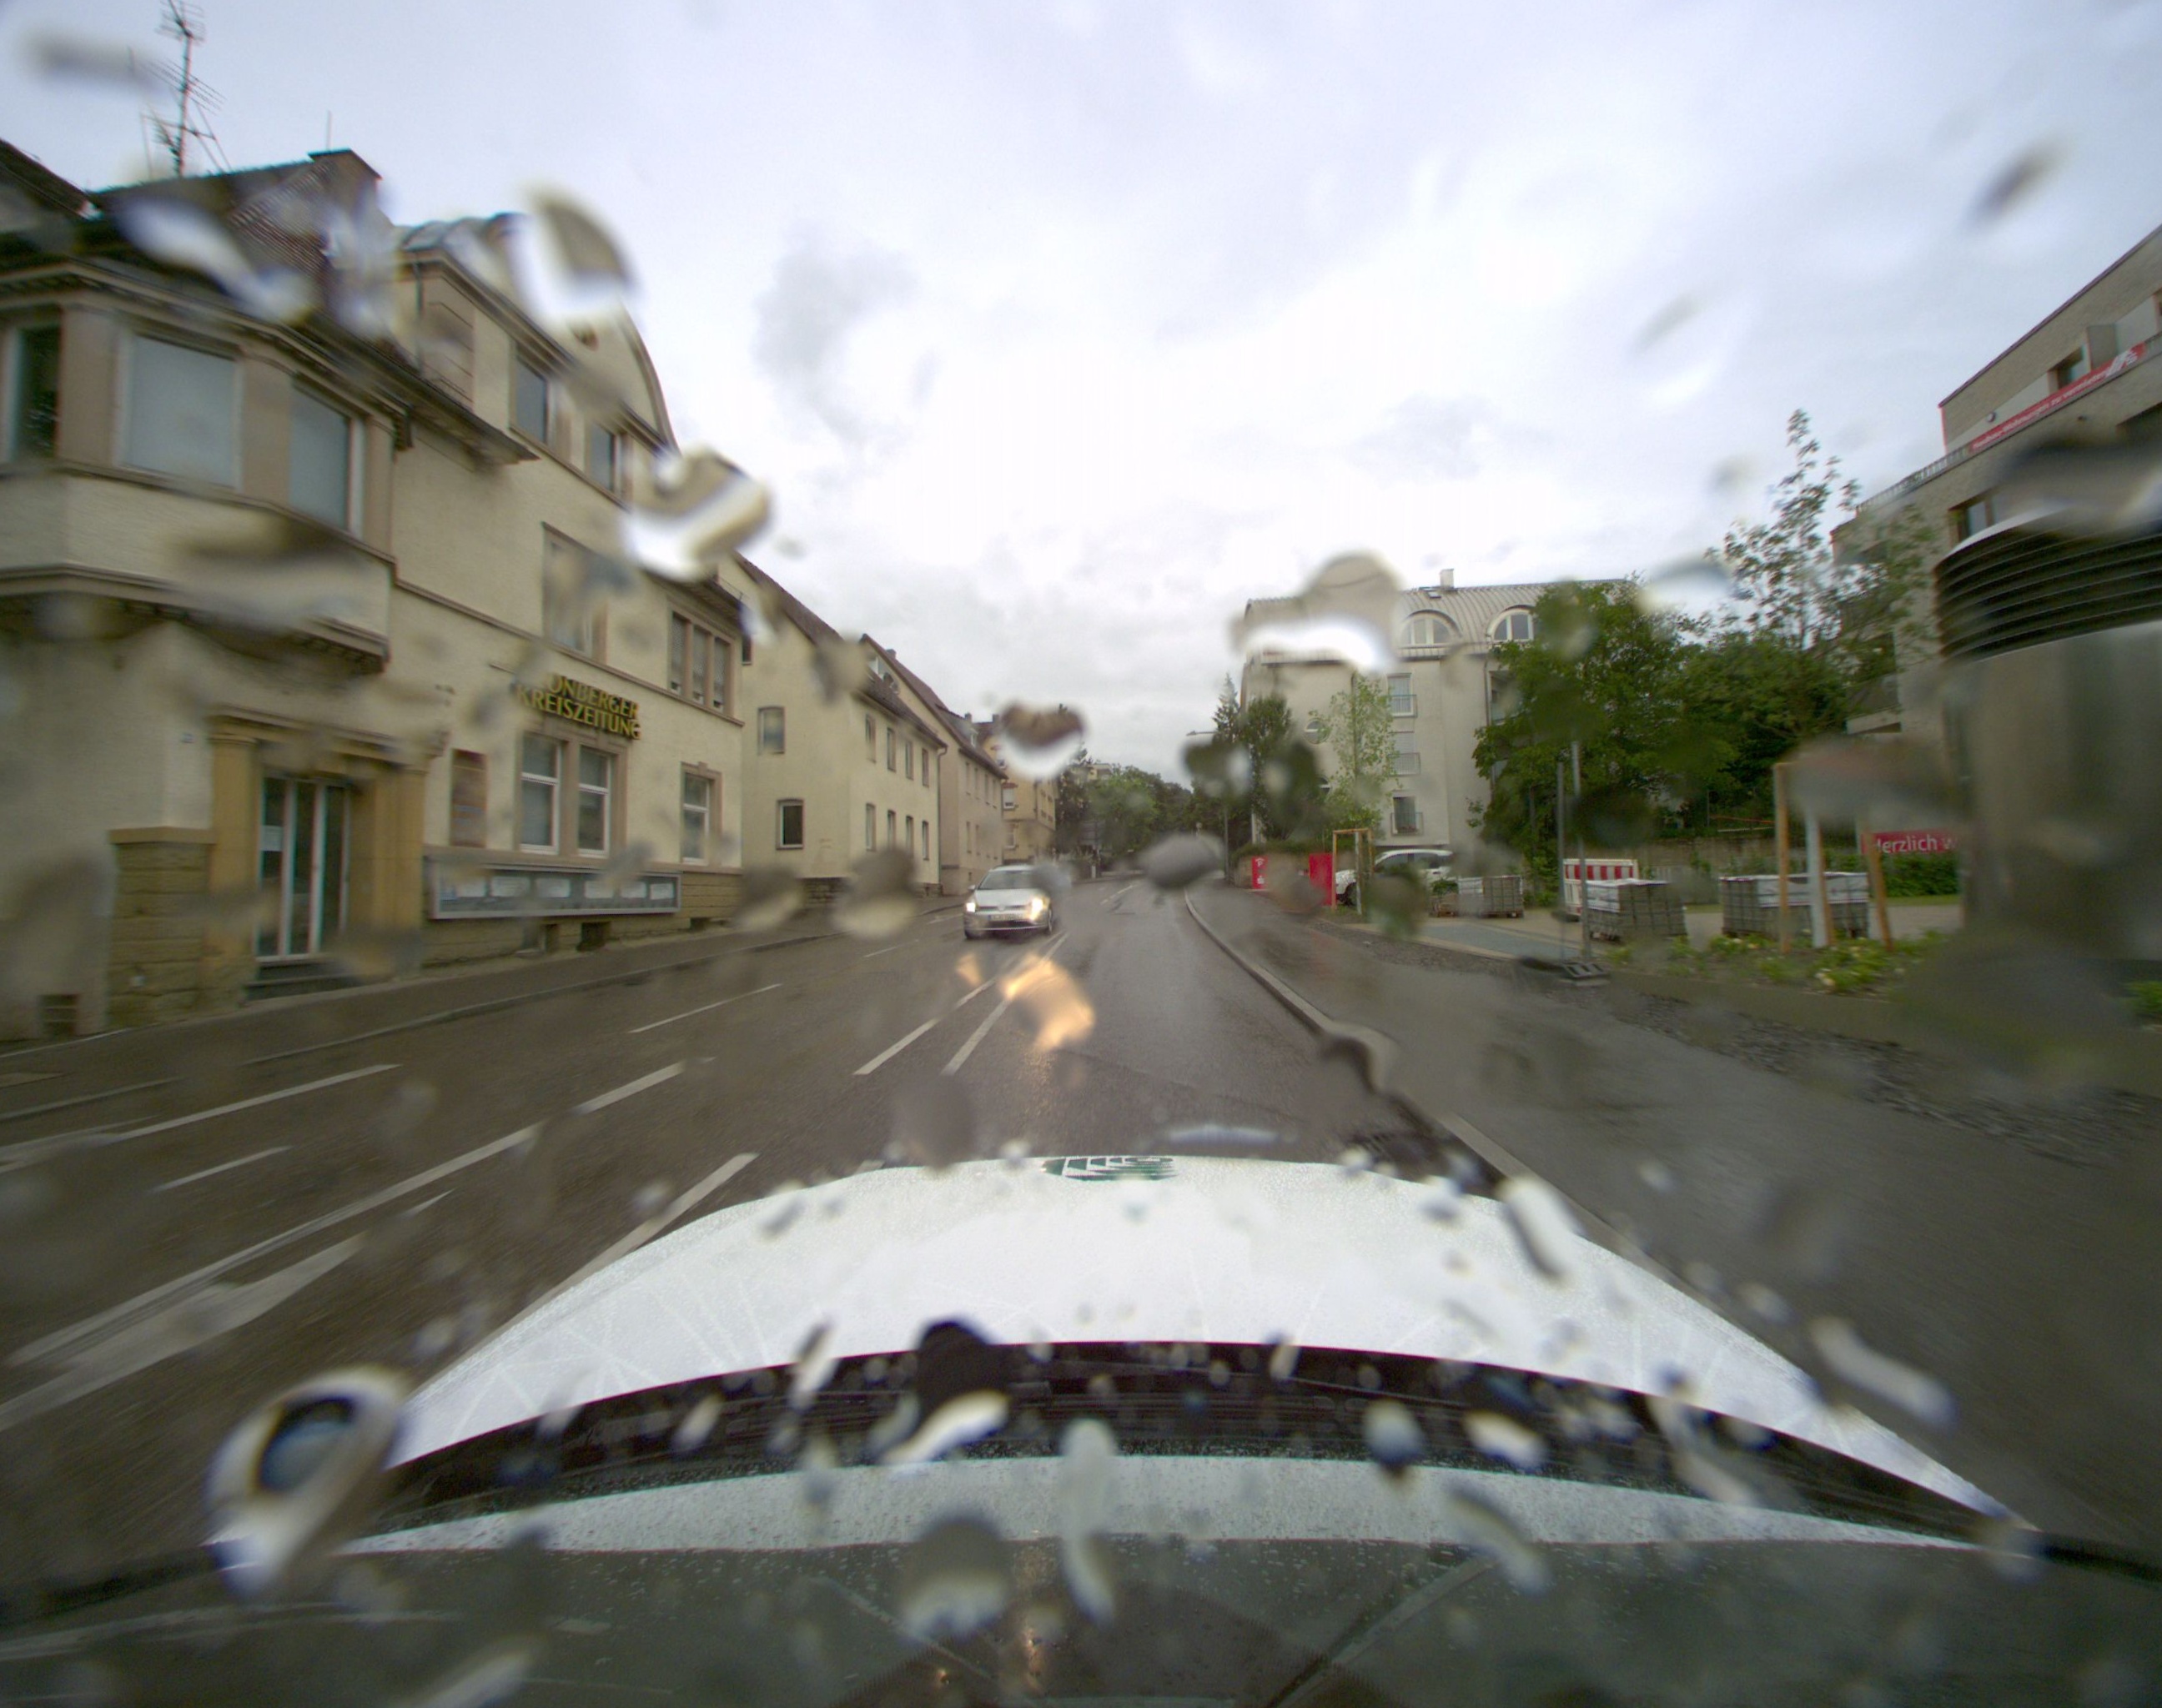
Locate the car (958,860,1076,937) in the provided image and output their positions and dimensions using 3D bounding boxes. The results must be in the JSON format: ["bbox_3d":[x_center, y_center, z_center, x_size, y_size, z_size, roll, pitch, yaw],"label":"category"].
[{"bbox_3d":[-1.276,0.893,18.299,1.790,1.439,4.697,-2,0,6],"label":"car"}]

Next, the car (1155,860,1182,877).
[{"bbox_3d":[8.736,1.431,81.138,1.731,1.571,3.832,1,0,20],"label":"car"}]

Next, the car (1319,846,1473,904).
[{"bbox_3d":[8.615,0.559,22.548,3.649,1.503,1.779,-1,0,5],"label":"car"}]
